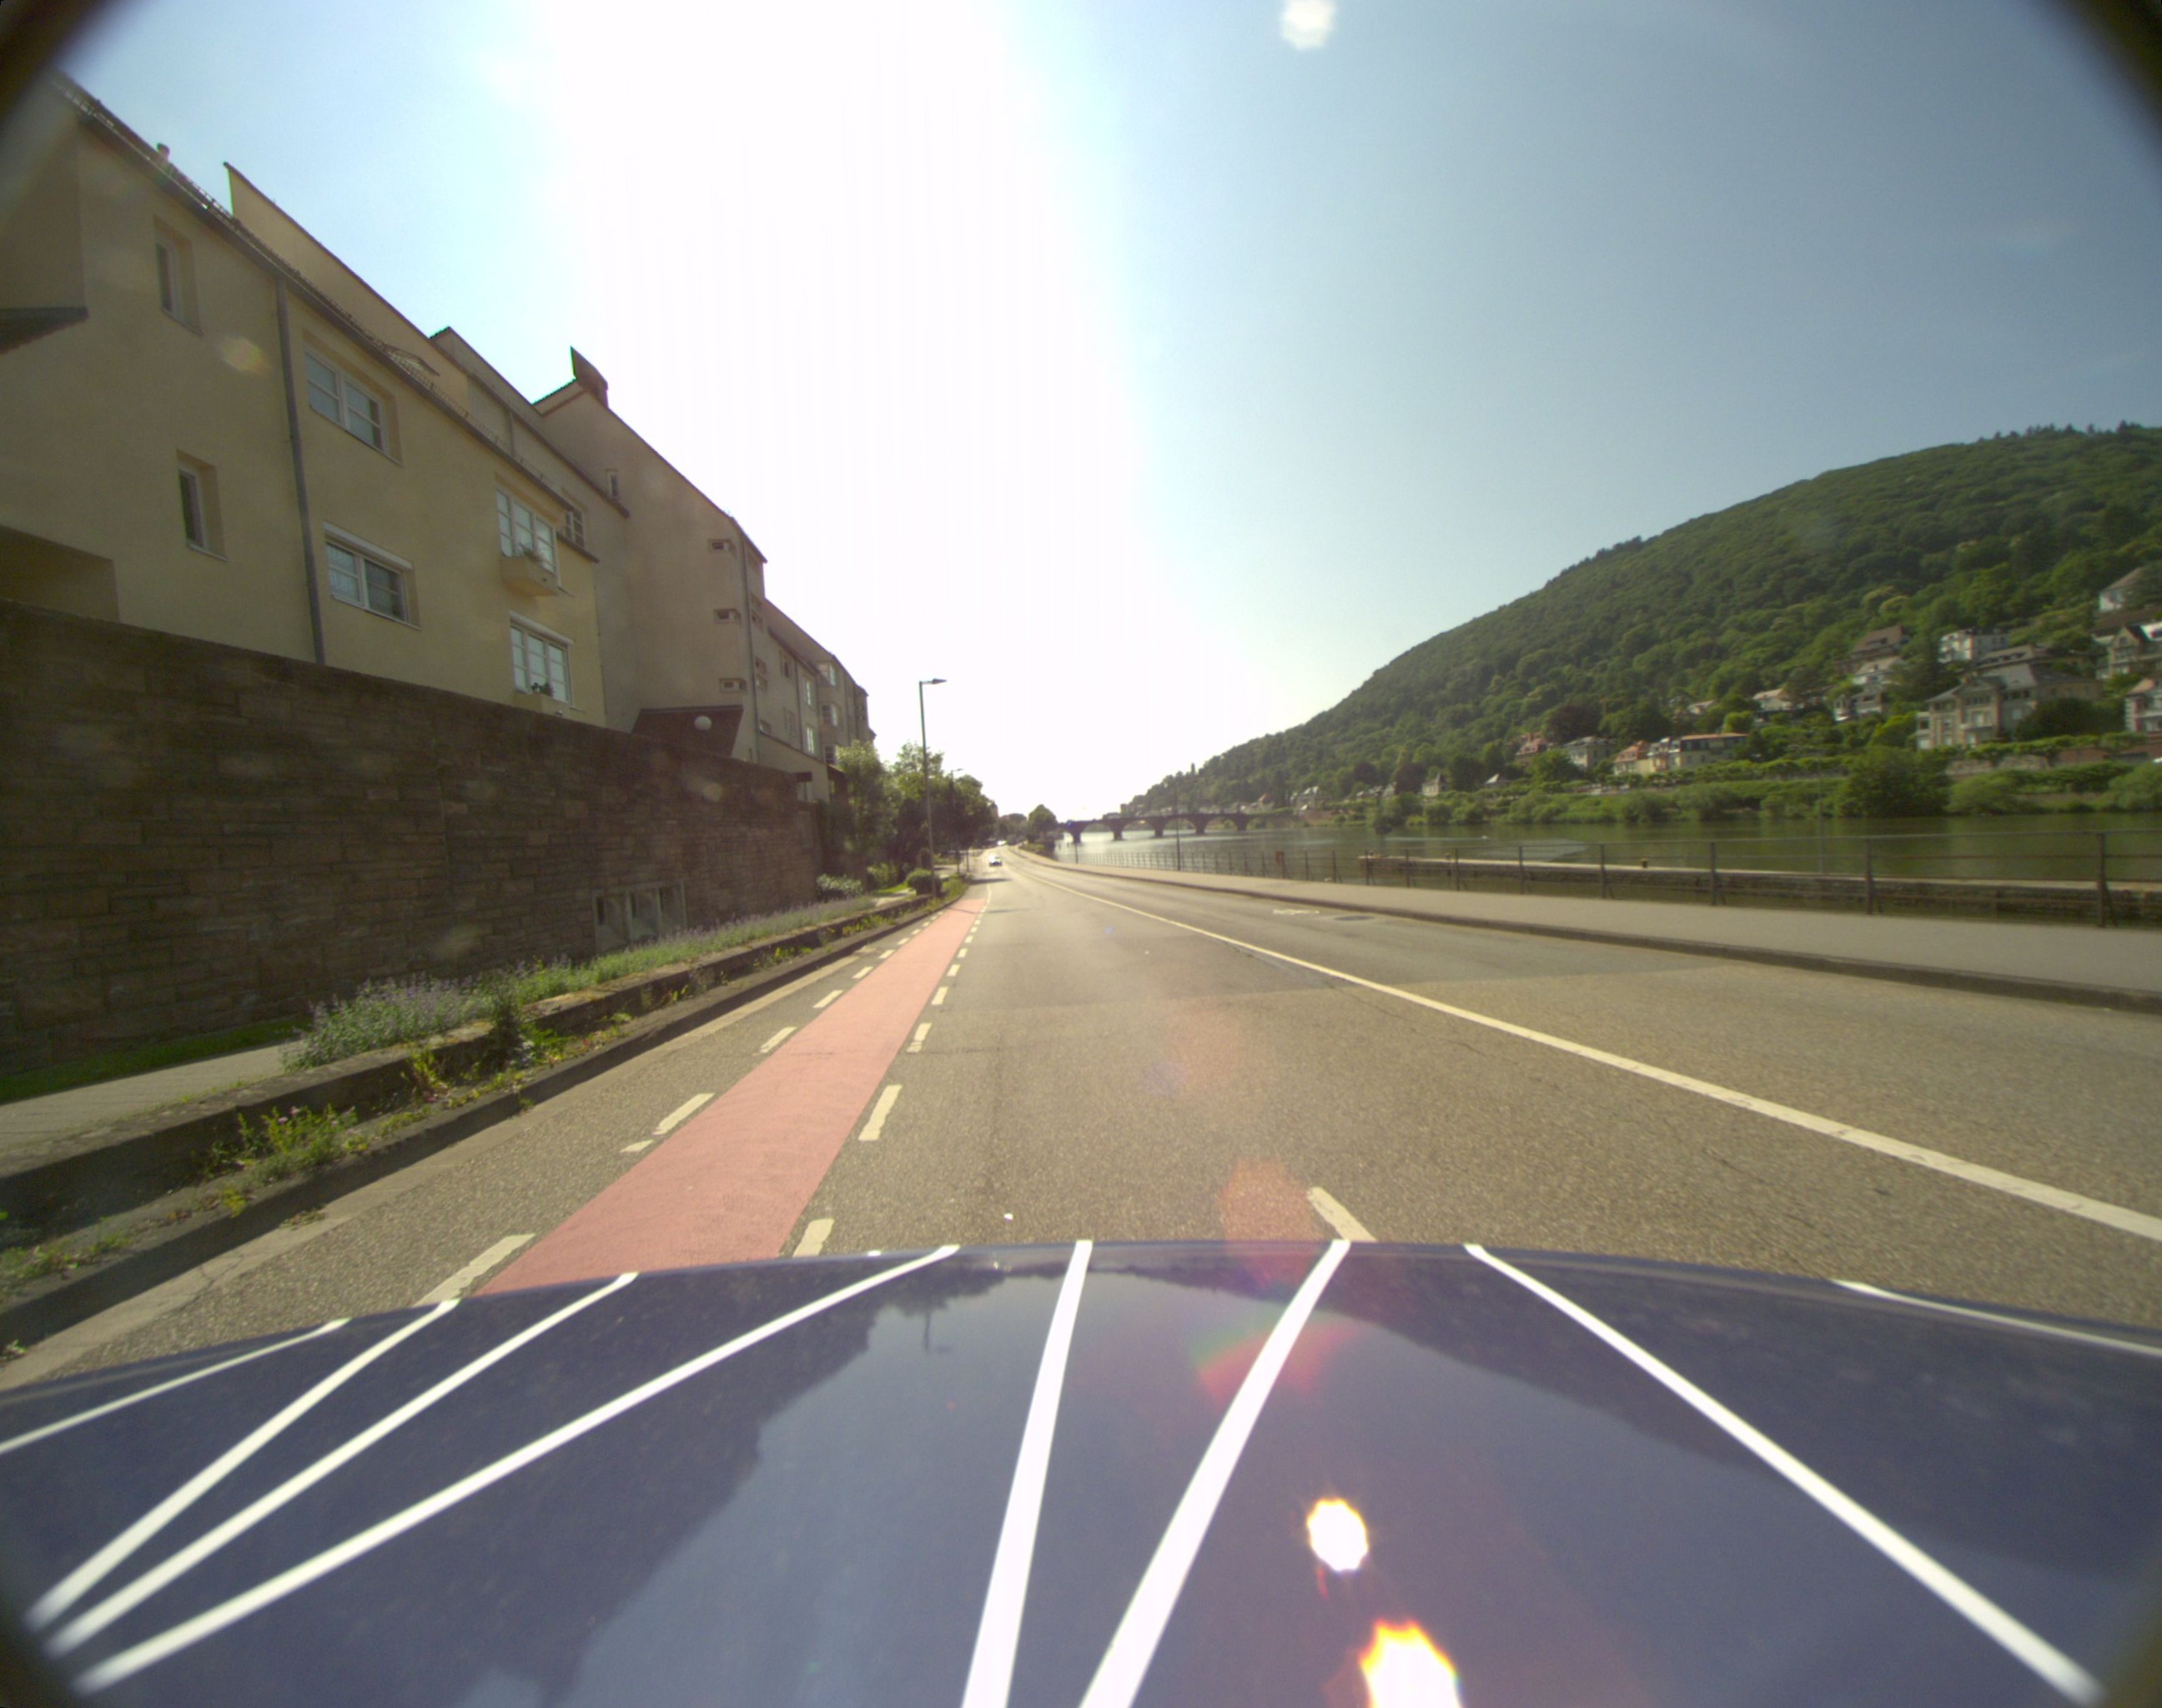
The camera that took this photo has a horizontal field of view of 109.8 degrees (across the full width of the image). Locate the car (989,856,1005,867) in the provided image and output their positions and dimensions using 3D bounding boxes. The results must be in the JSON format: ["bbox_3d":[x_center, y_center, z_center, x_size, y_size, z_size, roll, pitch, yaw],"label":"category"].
[{"bbox_3d":[-11.708,1.052,105.860,1.999,1.434,3.998,-3,1,-5],"label":"car"}]
